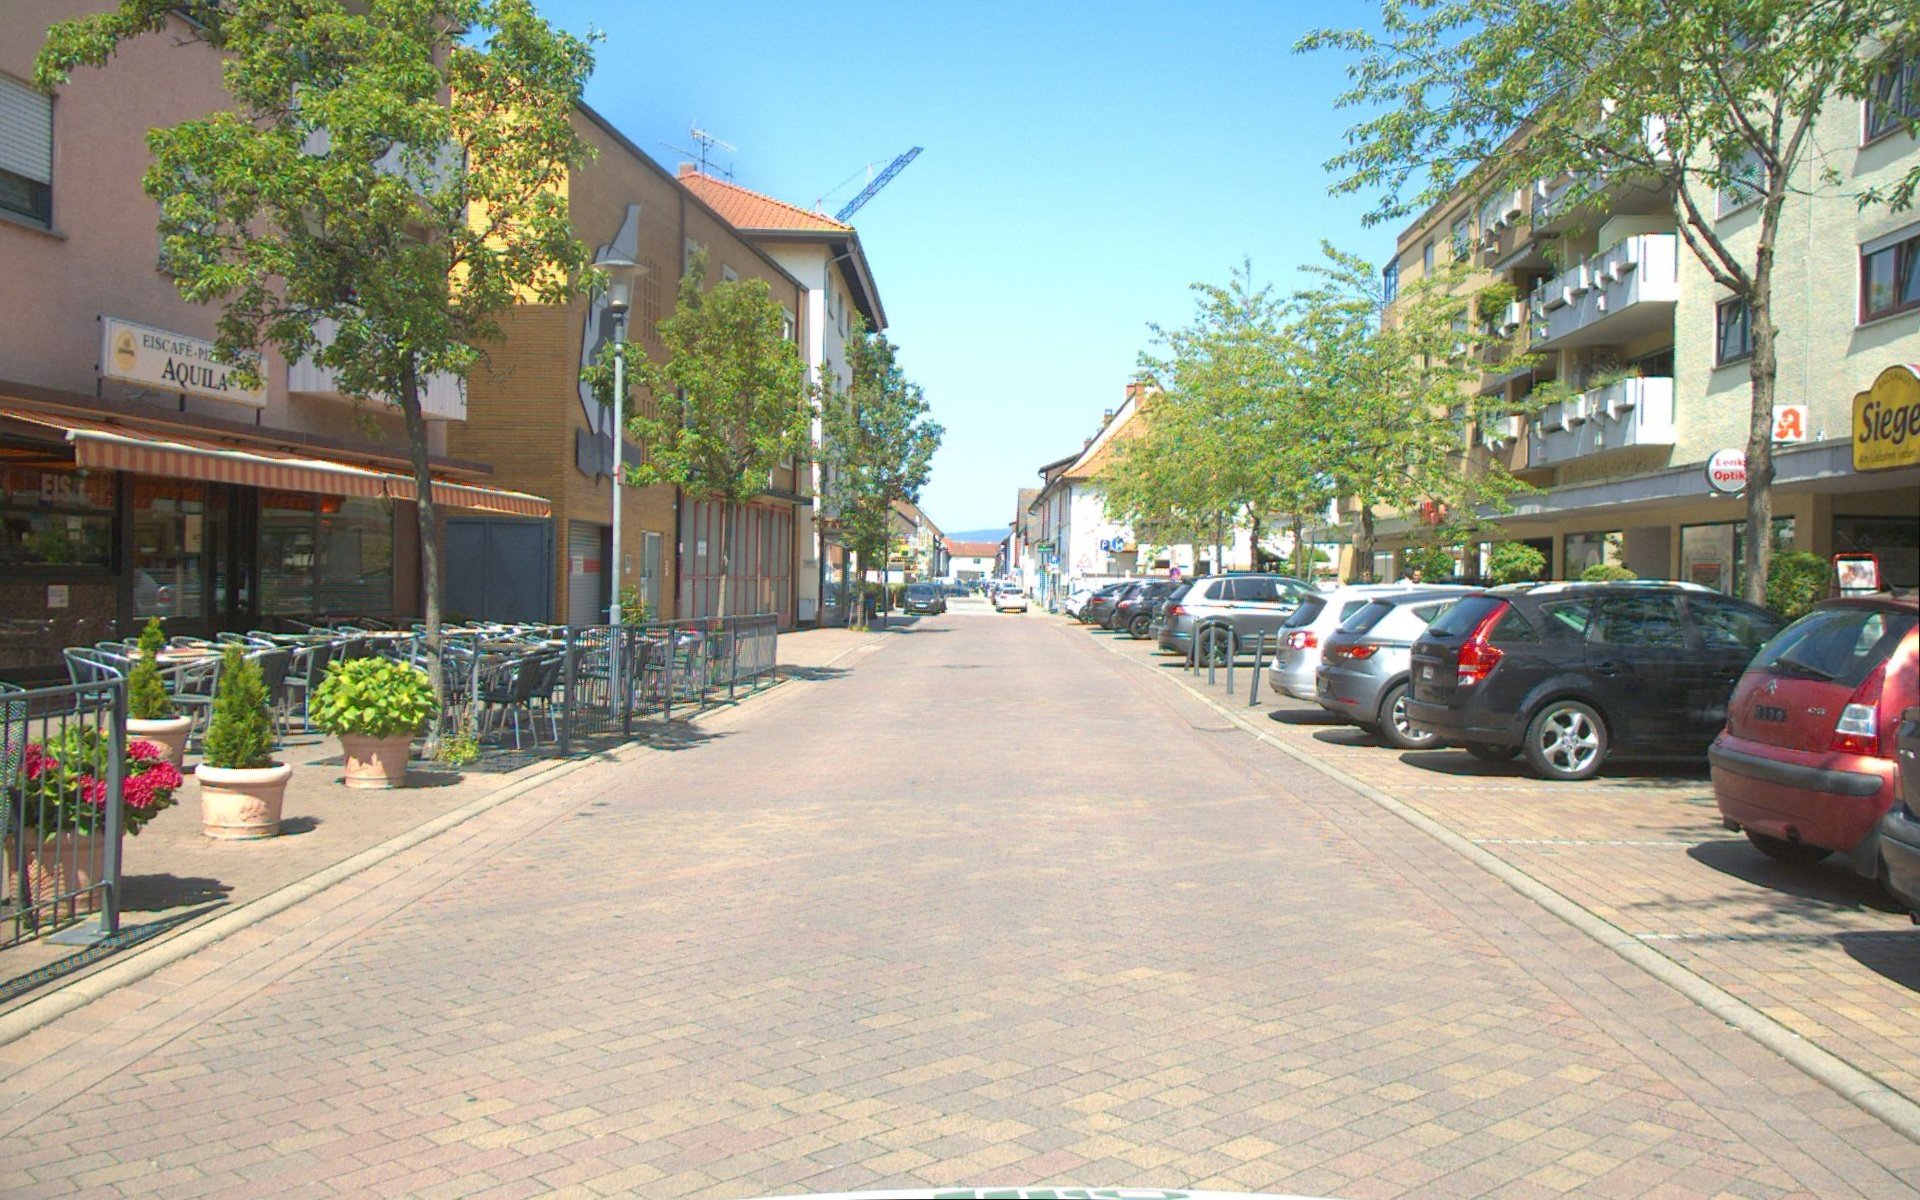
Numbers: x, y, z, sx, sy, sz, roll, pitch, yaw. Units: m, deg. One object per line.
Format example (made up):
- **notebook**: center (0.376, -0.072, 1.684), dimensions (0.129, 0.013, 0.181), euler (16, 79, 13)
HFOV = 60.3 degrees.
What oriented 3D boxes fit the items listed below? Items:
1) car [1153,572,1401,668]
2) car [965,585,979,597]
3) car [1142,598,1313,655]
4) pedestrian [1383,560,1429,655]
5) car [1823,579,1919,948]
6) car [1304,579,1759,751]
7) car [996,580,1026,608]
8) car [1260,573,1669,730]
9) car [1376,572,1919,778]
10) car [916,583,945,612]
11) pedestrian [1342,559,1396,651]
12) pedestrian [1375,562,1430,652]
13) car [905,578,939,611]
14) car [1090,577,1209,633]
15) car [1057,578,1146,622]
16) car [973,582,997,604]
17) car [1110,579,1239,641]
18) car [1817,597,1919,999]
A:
- **car**: center (5.646, 0.340, 29.752), dimensions (4.157, 1.643, 1.558), euler (1, 1, 0)
- **car**: center (1.634, -1.150, 218.080), dimensions (1.710, 1.506, 3.630), euler (1, 2, 2)
- **car**: center (5.730, 0.557, 35.651), dimensions (3.451, 1.161, 1.273), euler (1, 0, -3)
- **pedestrian**: center (8.674, 0.131, 32.203), dimensions (0.819, 1.818, 0.807), euler (1, 1, 13)
- **car**: center (5.893, 0.683, 6.921), dimensions (3.646, 1.561, 1.766), euler (-1, 1, 1)
- **car**: center (5.350, 0.571, 15.914), dimensions (3.854, 1.515, 1.717), euler (0, 1, 6)
- **car**: center (3.091, -0.386, 101.100), dimensions (1.793, 1.558, 3.946), euler (1, 2, 1)
- **car**: center (5.544, 0.533, 18.578), dimensions (4.066, 1.601, 1.760), euler (1, 1, 3)
- **car**: center (5.759, 0.571, 13.711), dimensions (4.098, 1.568, 1.945), euler (0, 1, -3)
- **car**: center (-1.655, -0.158, 94.306), dimensions (1.476, 1.526, 3.828), euler (1, 2, 1)
- **pedestrian**: center (8.215, 0.095, 33.263), dimensions (0.821, 1.818, 0.806), euler (1, 1, -5)
- **pedestrian**: center (9.050, 0.135, 33.845), dimensions (0.821, 1.818, 0.806), euler (1, 1, -5)
- **car**: center (-1.859, -0.291, 82.348), dimensions (1.476, 1.526, 3.828), euler (1, 2, 1)
- **car**: center (5.782, 0.153, 50.761), dimensions (3.449, 1.653, 1.711), euler (1, 0, 0)
- **car**: center (5.743, 0.005, 67.110), dimensions (3.409, 1.730, 1.535), euler (0, 0, -4)
- **car**: center (1.834, -0.540, 120.784), dimensions (1.710, 1.506, 3.630), euler (1, 2, 2)
- **car**: center (6.056, 0.268, 46.974), dimensions (3.449, 1.684, 1.711), euler (1, 0, 0)
- **car**: center (5.528, 0.725, 5.915), dimensions (4.012, 1.456, 1.784), euler (-1, 1, 1)
